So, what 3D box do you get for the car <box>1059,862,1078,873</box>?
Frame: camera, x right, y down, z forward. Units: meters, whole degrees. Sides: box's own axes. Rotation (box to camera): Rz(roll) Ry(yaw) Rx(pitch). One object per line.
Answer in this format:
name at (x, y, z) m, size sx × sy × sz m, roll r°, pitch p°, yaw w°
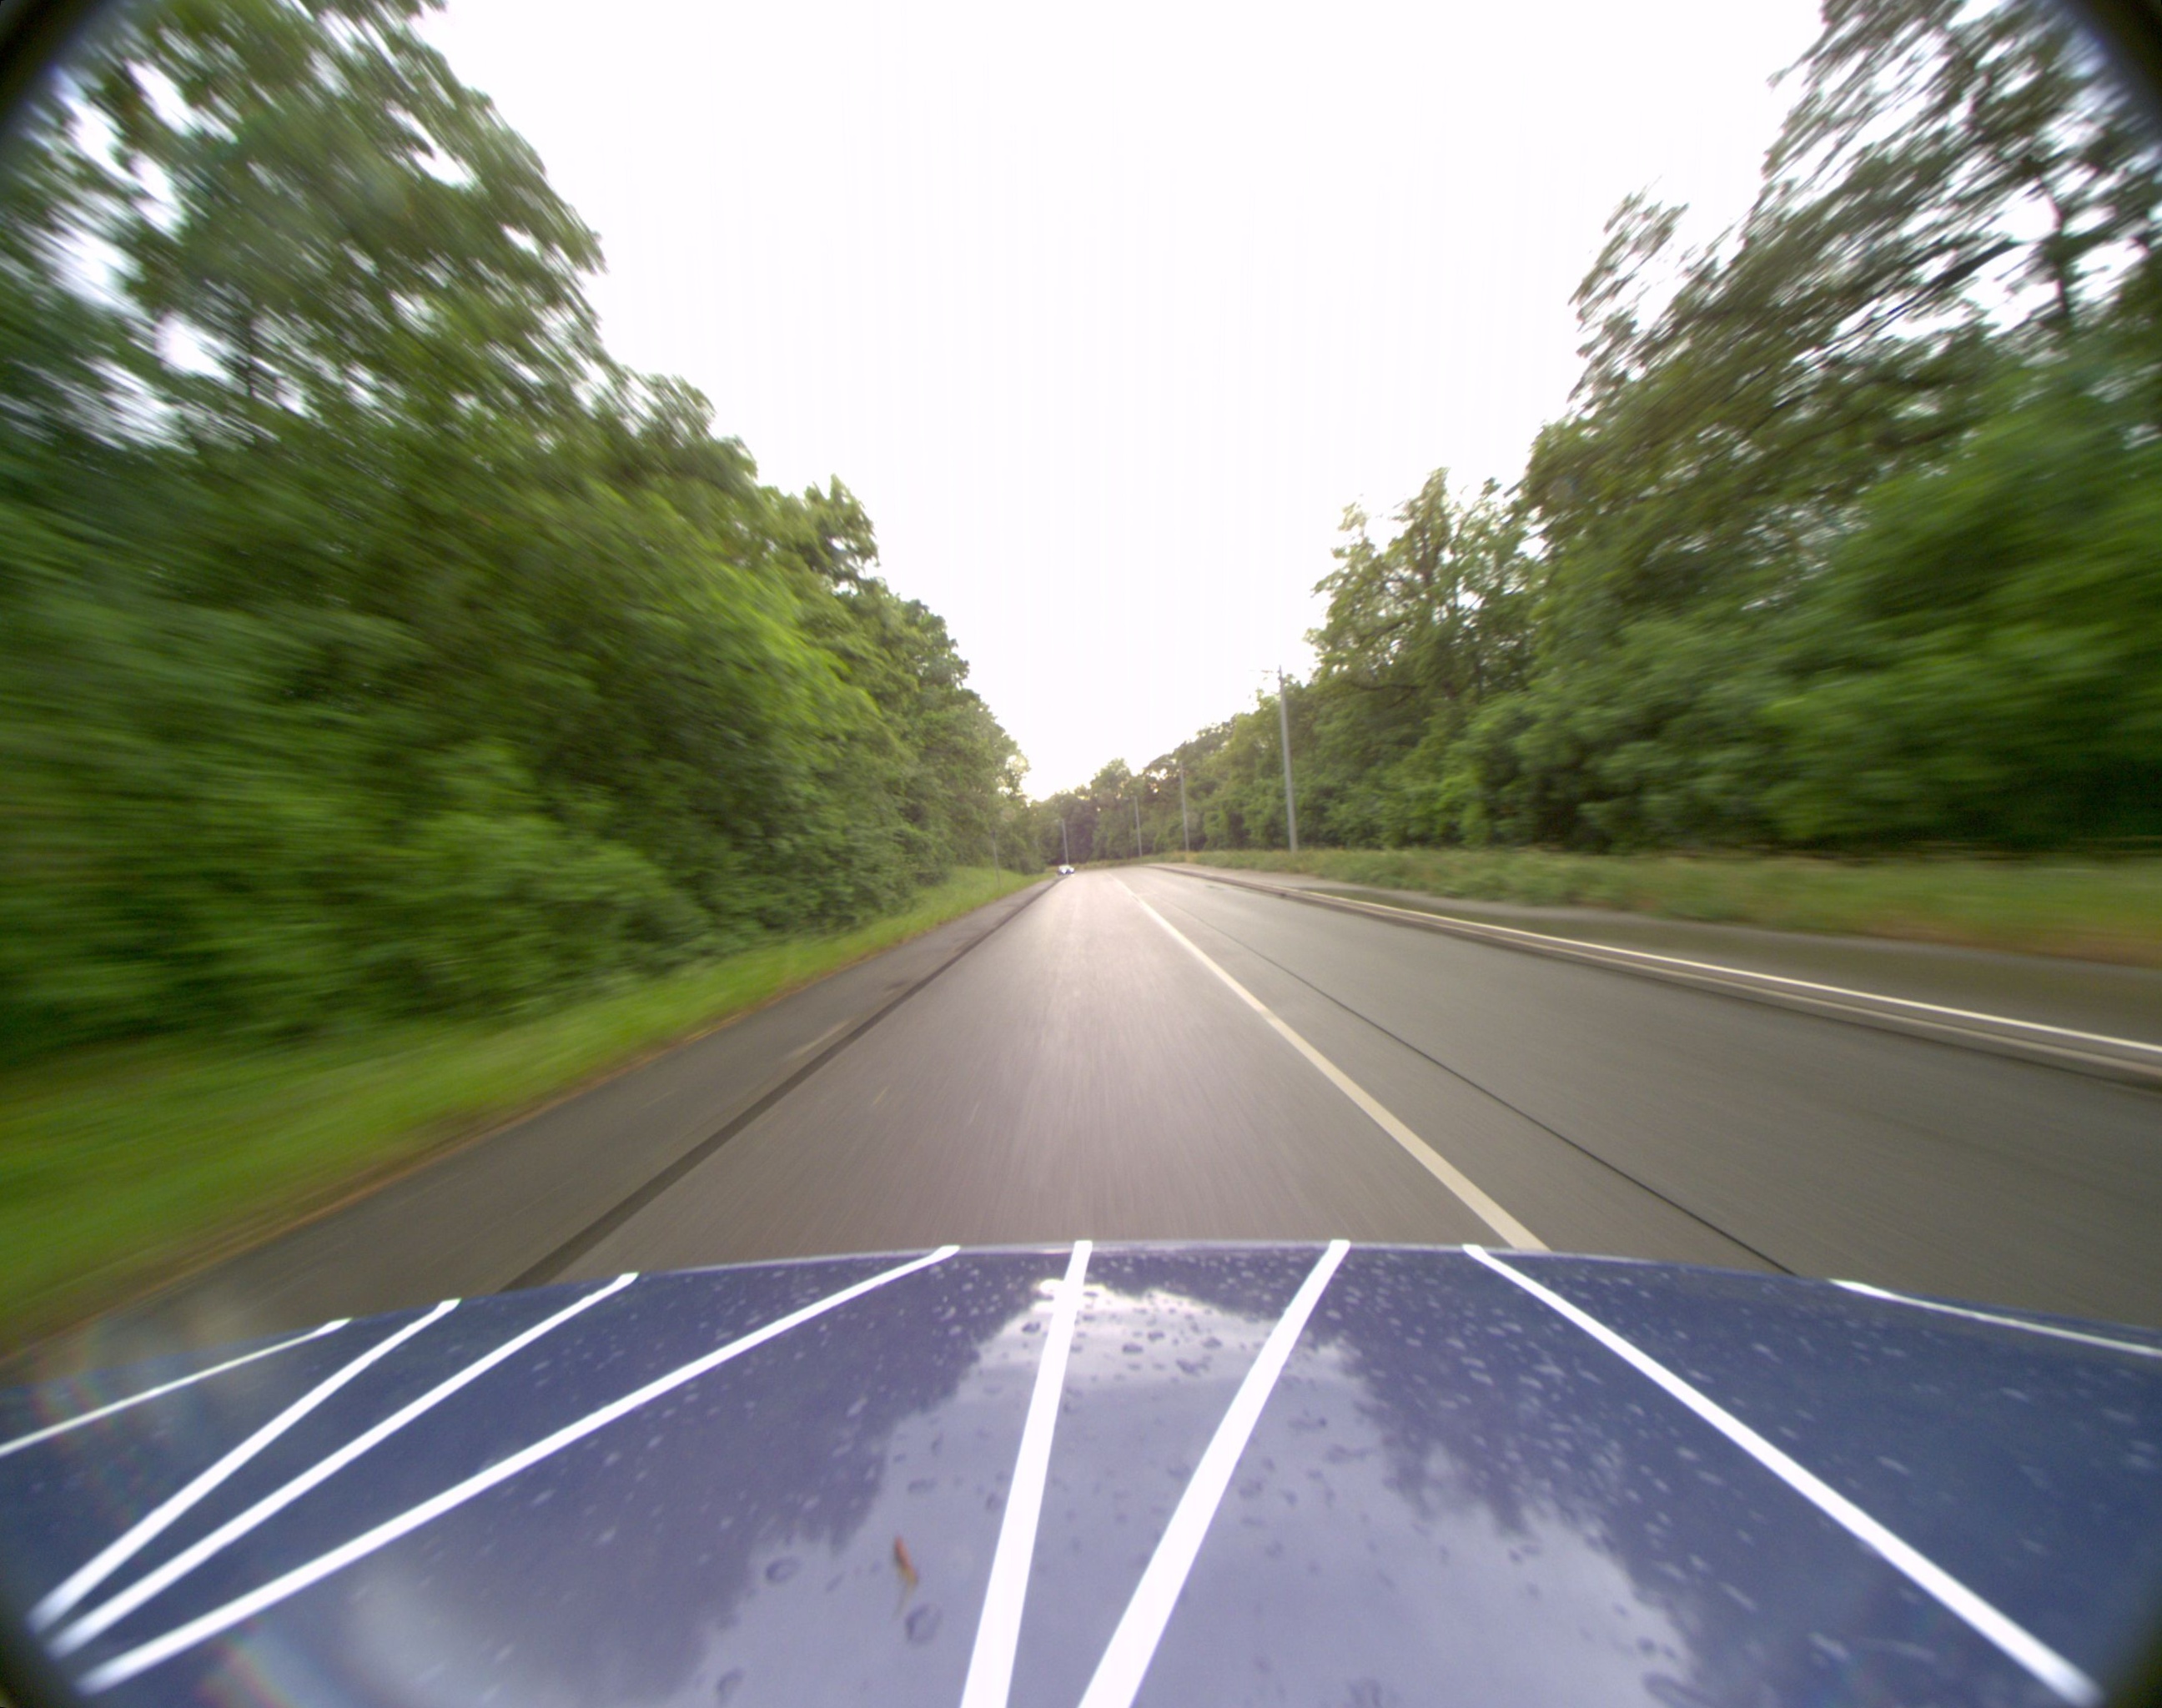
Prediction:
car at (-1.785, 1.887, 109.432) m, size 1.783 × 1.477 × 3.995 m, roll -3°, pitch 0°, yaw -15°
